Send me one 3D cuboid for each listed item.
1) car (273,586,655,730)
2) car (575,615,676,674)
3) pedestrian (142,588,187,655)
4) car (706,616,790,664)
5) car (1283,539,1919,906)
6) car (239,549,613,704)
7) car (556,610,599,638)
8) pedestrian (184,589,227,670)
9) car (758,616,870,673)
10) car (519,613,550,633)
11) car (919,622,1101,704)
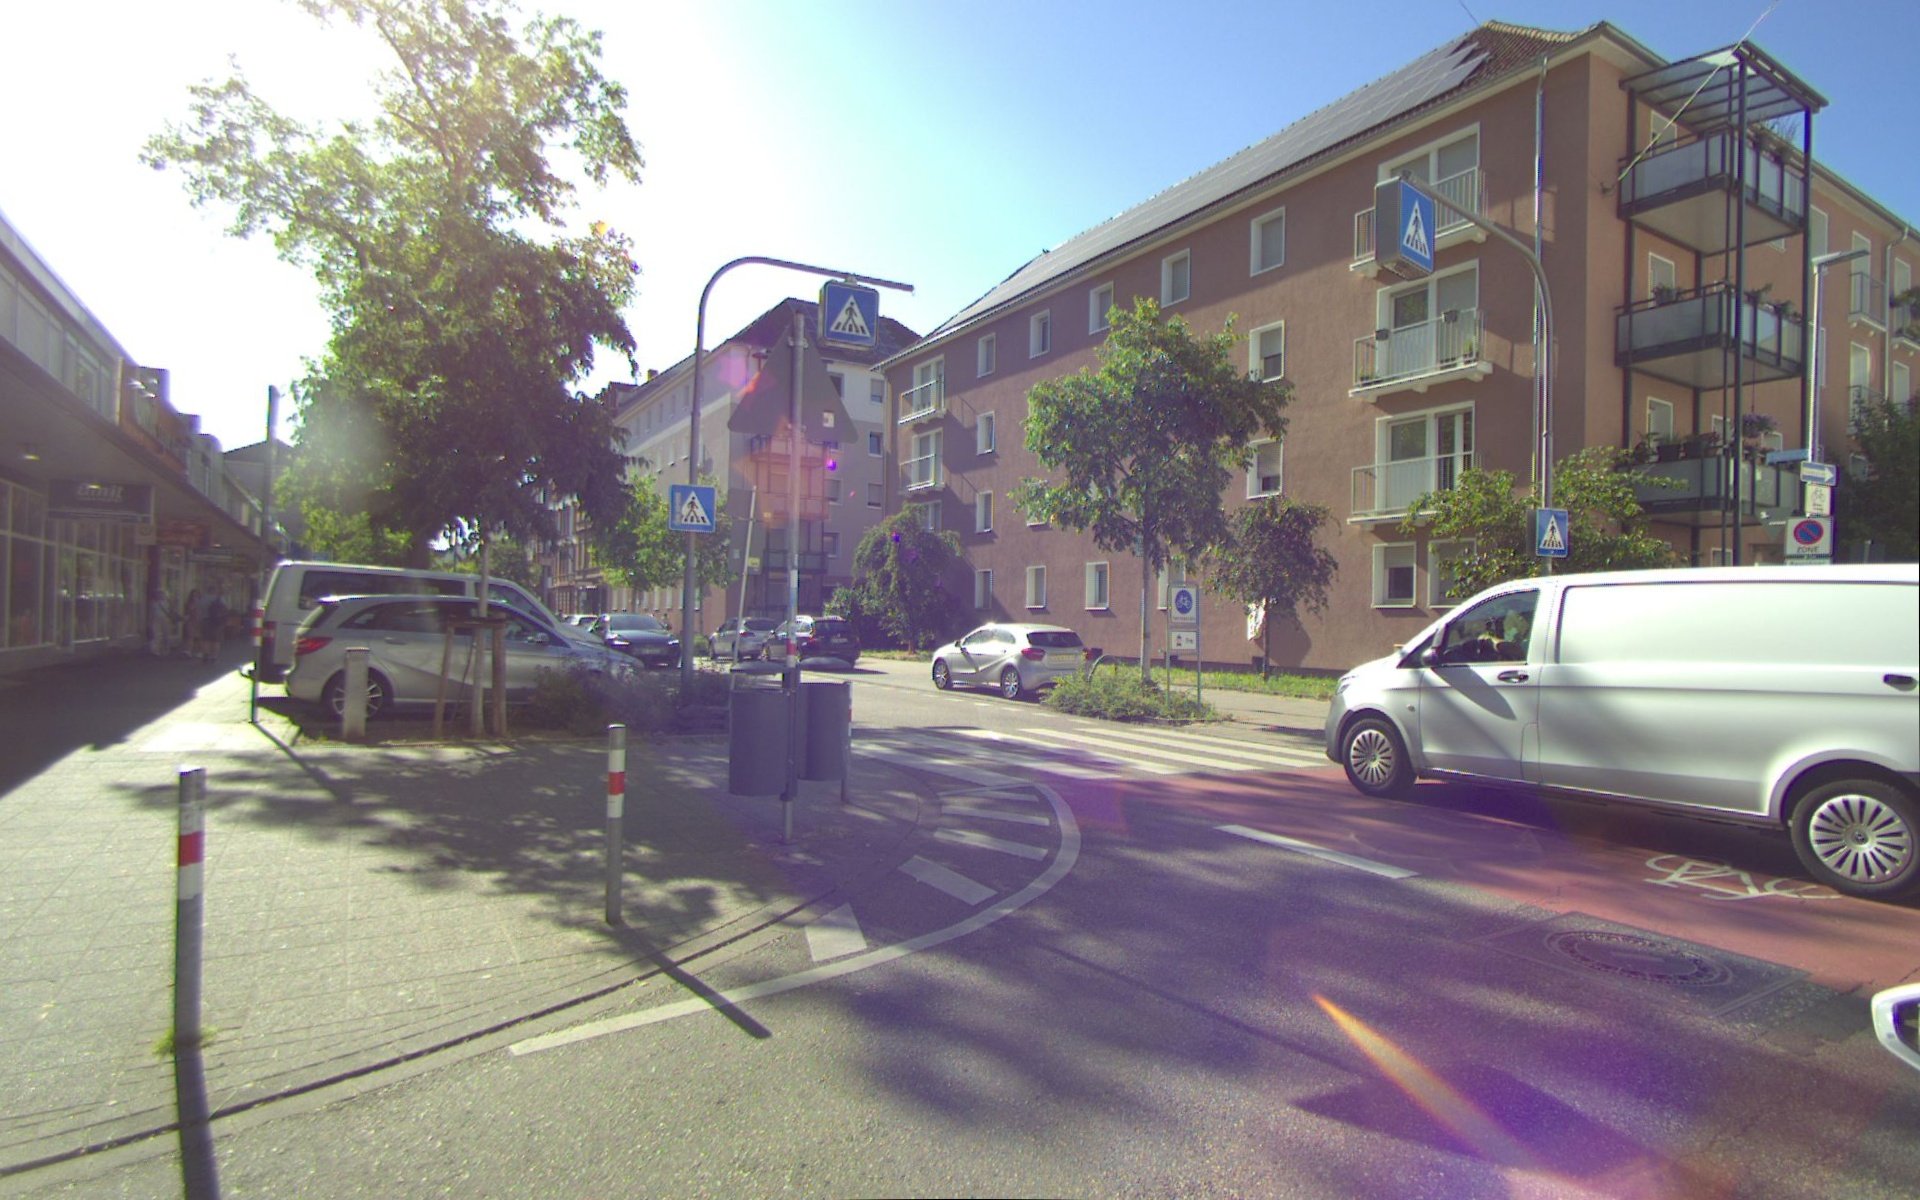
[{"bbox_3d":[-6.407,0.726,13.252,4.257,1.634,1.743,2,-1,-33],"label":"car"},{"bbox_3d":[-9.365,1.178,27.872,1.892,1.473,4.543,1,-1,-29],"label":"car"},{"bbox_3d":[-18.727,0.508,23.654,0.681,1.542,0.528,3,-2,-30],"label":"pedestrian"},{"bbox_3d":[-7.383,1.357,34.758,1.725,1.539,3.827,2,-1,-30],"label":"car"},{"bbox_3d":[5.156,0.690,7.532,2.080,1.933,5.390,2,-1,-25],"label":"car"},{"bbox_3d":[-7.985,0.488,15.324,4.696,2.032,1.942,4,-2,-34],"label":"car"},{"bbox_3d":[-22.389,1.392,58.675,1.725,1.539,3.827,2,-1,-30],"label":"car"},{"bbox_3d":[-16.067,0.622,21.414,0.560,1.688,0.707,3,-2,-29],"label":"pedestrian"},{"bbox_3d":[-4.362,1.248,29.477,1.768,1.539,4.274,2,-1,-30],"label":"car"},{"bbox_3d":[-32.981,1.765,77.819,1.725,1.539,3.827,2,-1,-30],"label":"car"},{"bbox_3d":[0.917,1.213,20.640,1.726,1.473,4.120,2,-1,-31],"label":"car"}]
